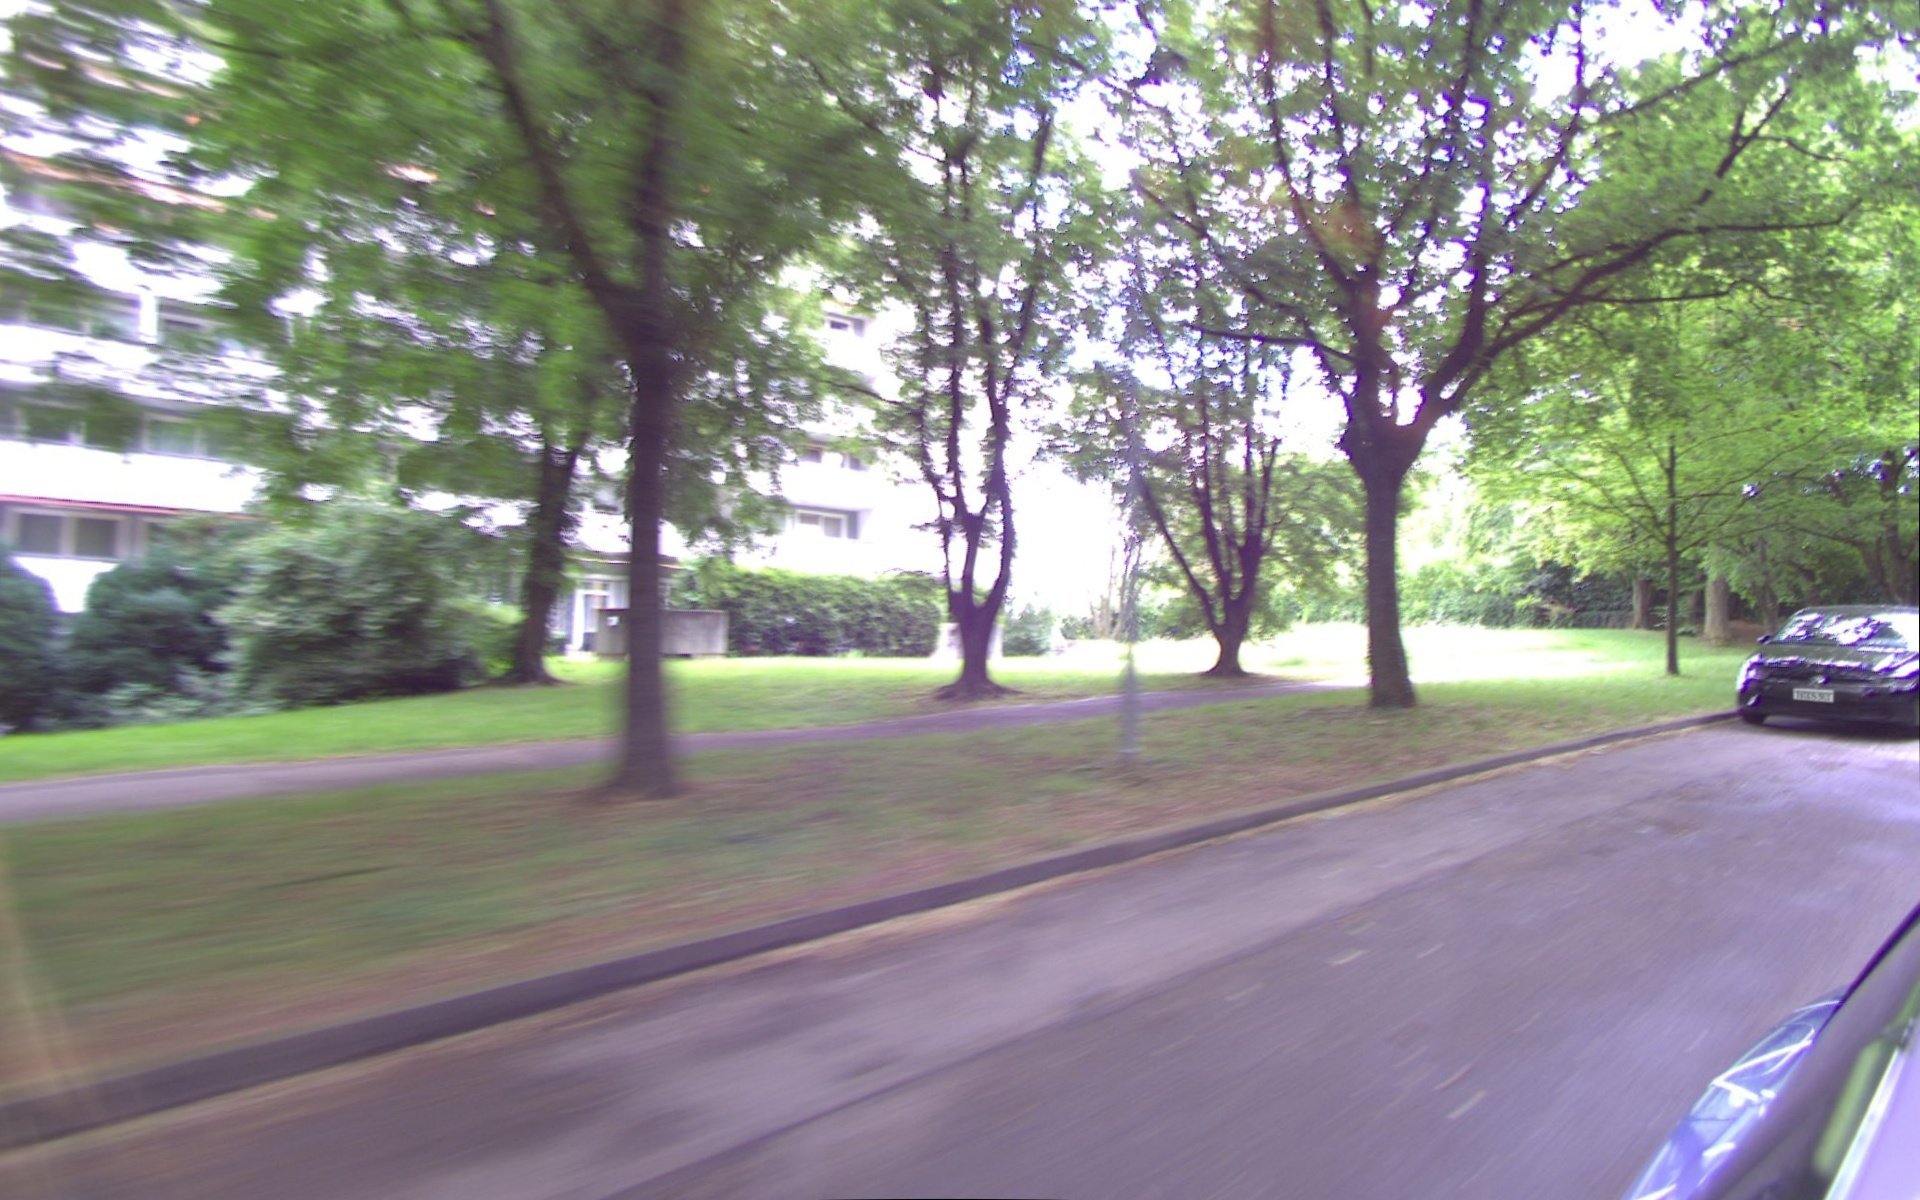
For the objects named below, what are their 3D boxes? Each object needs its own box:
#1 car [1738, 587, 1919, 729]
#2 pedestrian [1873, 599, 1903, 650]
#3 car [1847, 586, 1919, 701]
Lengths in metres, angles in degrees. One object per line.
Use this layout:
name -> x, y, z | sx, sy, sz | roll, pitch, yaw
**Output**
car -> 11.126, 0.637, 12.320 | 3.826, 1.483, 1.686 | 1, -2, -38
pedestrian -> 30.858, 0.822, 33.647 | 0.857, 1.673, 0.582 | 1, -2, -39
car -> 15.612, 0.630, 15.381 | 4.641, 1.632, 1.920 | 1, -2, -32
